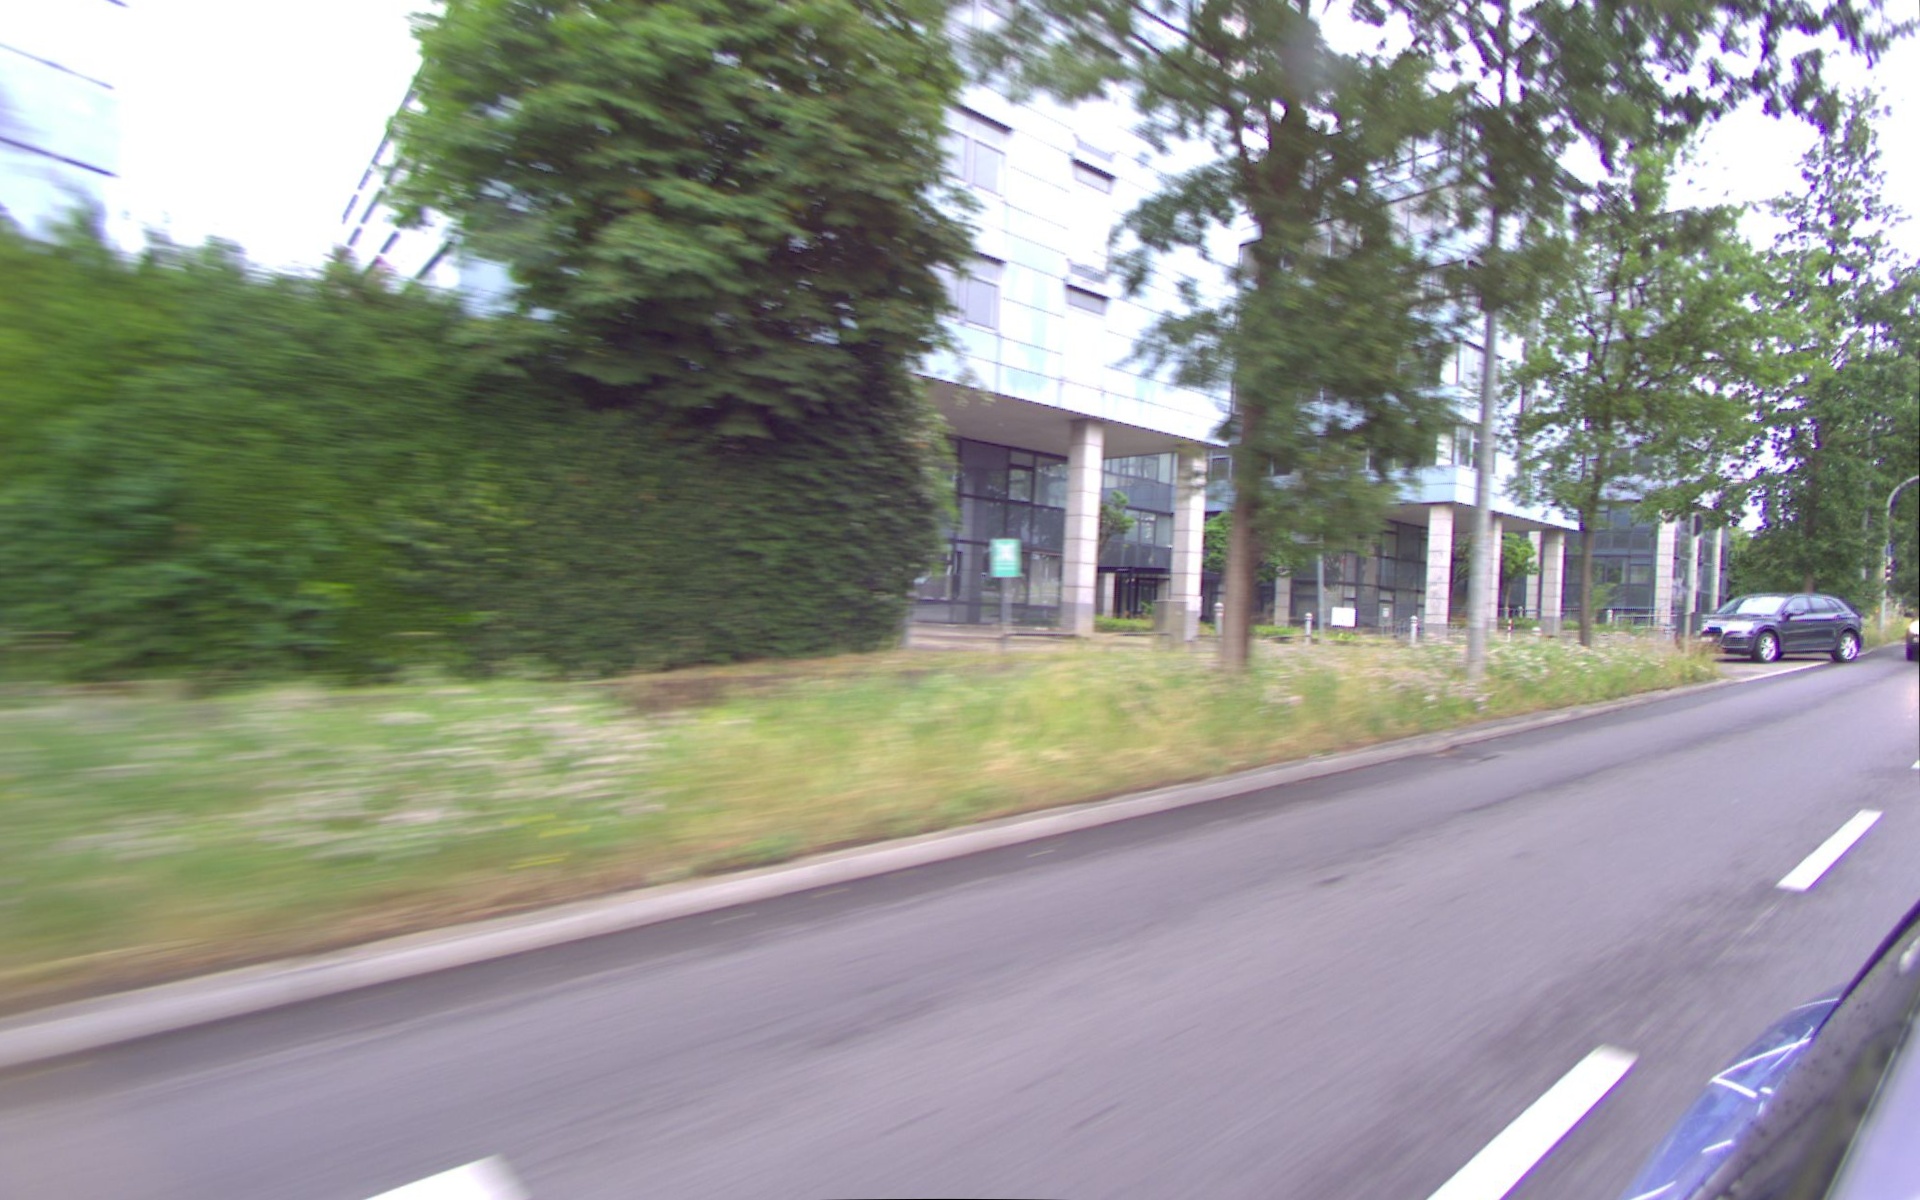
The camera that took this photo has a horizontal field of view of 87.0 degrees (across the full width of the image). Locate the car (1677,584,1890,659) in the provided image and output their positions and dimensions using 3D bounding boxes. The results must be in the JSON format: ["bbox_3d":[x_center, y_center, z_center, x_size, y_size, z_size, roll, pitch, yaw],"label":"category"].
[{"bbox_3d":[19.850,0.494,24.423,4.278,1.691,1.821,1,0,-15],"label":"car"}]
